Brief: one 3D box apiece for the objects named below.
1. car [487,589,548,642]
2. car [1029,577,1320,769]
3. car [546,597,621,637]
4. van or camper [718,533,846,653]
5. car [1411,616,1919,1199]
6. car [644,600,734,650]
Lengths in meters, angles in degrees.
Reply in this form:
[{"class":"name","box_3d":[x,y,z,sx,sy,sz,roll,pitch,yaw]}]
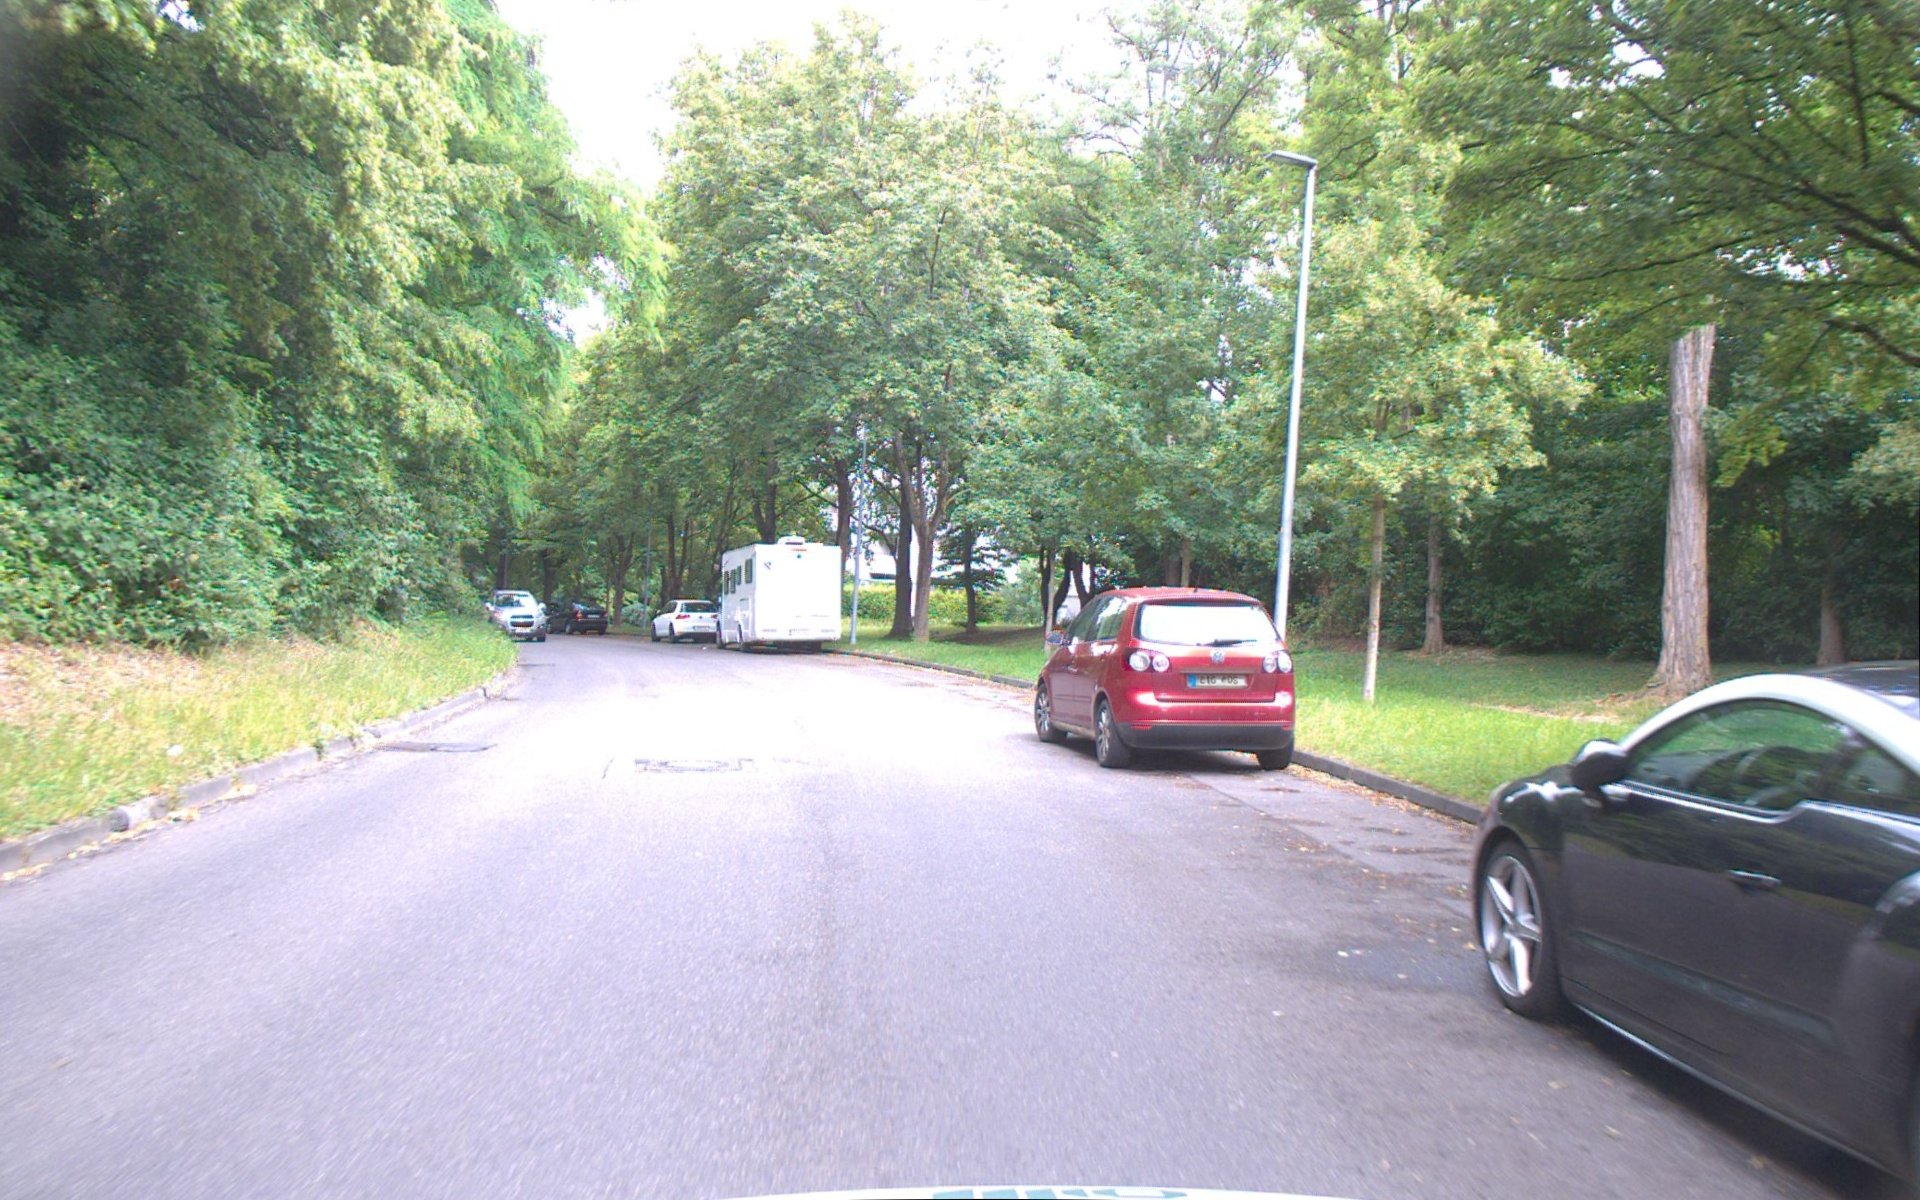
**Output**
[{"class":"car","box_3d":[-15.179,0.492,56.624,1.828,1.693,4.548,-1,1,-17]},{"class":"car","box_3d":[1.888,0.622,15.818,1.706,1.590,3.992,1,0,-9]},{"class":"car","box_3d":[-16.516,0.729,72.390,1.974,1.527,3.958,4,0,-31]},{"class":"van or camper","box_3d":[-4.932,-0.208,45.062,2.392,3.060,5.181,1,1,-19]},{"class":"car","box_3d":[2.965,0.785,4.940,1.716,1.360,4.411,2,0,-4]},{"class":"car","box_3d":[-9.446,0.835,57.453,1.969,1.498,3.967,4,0,-26]}]
